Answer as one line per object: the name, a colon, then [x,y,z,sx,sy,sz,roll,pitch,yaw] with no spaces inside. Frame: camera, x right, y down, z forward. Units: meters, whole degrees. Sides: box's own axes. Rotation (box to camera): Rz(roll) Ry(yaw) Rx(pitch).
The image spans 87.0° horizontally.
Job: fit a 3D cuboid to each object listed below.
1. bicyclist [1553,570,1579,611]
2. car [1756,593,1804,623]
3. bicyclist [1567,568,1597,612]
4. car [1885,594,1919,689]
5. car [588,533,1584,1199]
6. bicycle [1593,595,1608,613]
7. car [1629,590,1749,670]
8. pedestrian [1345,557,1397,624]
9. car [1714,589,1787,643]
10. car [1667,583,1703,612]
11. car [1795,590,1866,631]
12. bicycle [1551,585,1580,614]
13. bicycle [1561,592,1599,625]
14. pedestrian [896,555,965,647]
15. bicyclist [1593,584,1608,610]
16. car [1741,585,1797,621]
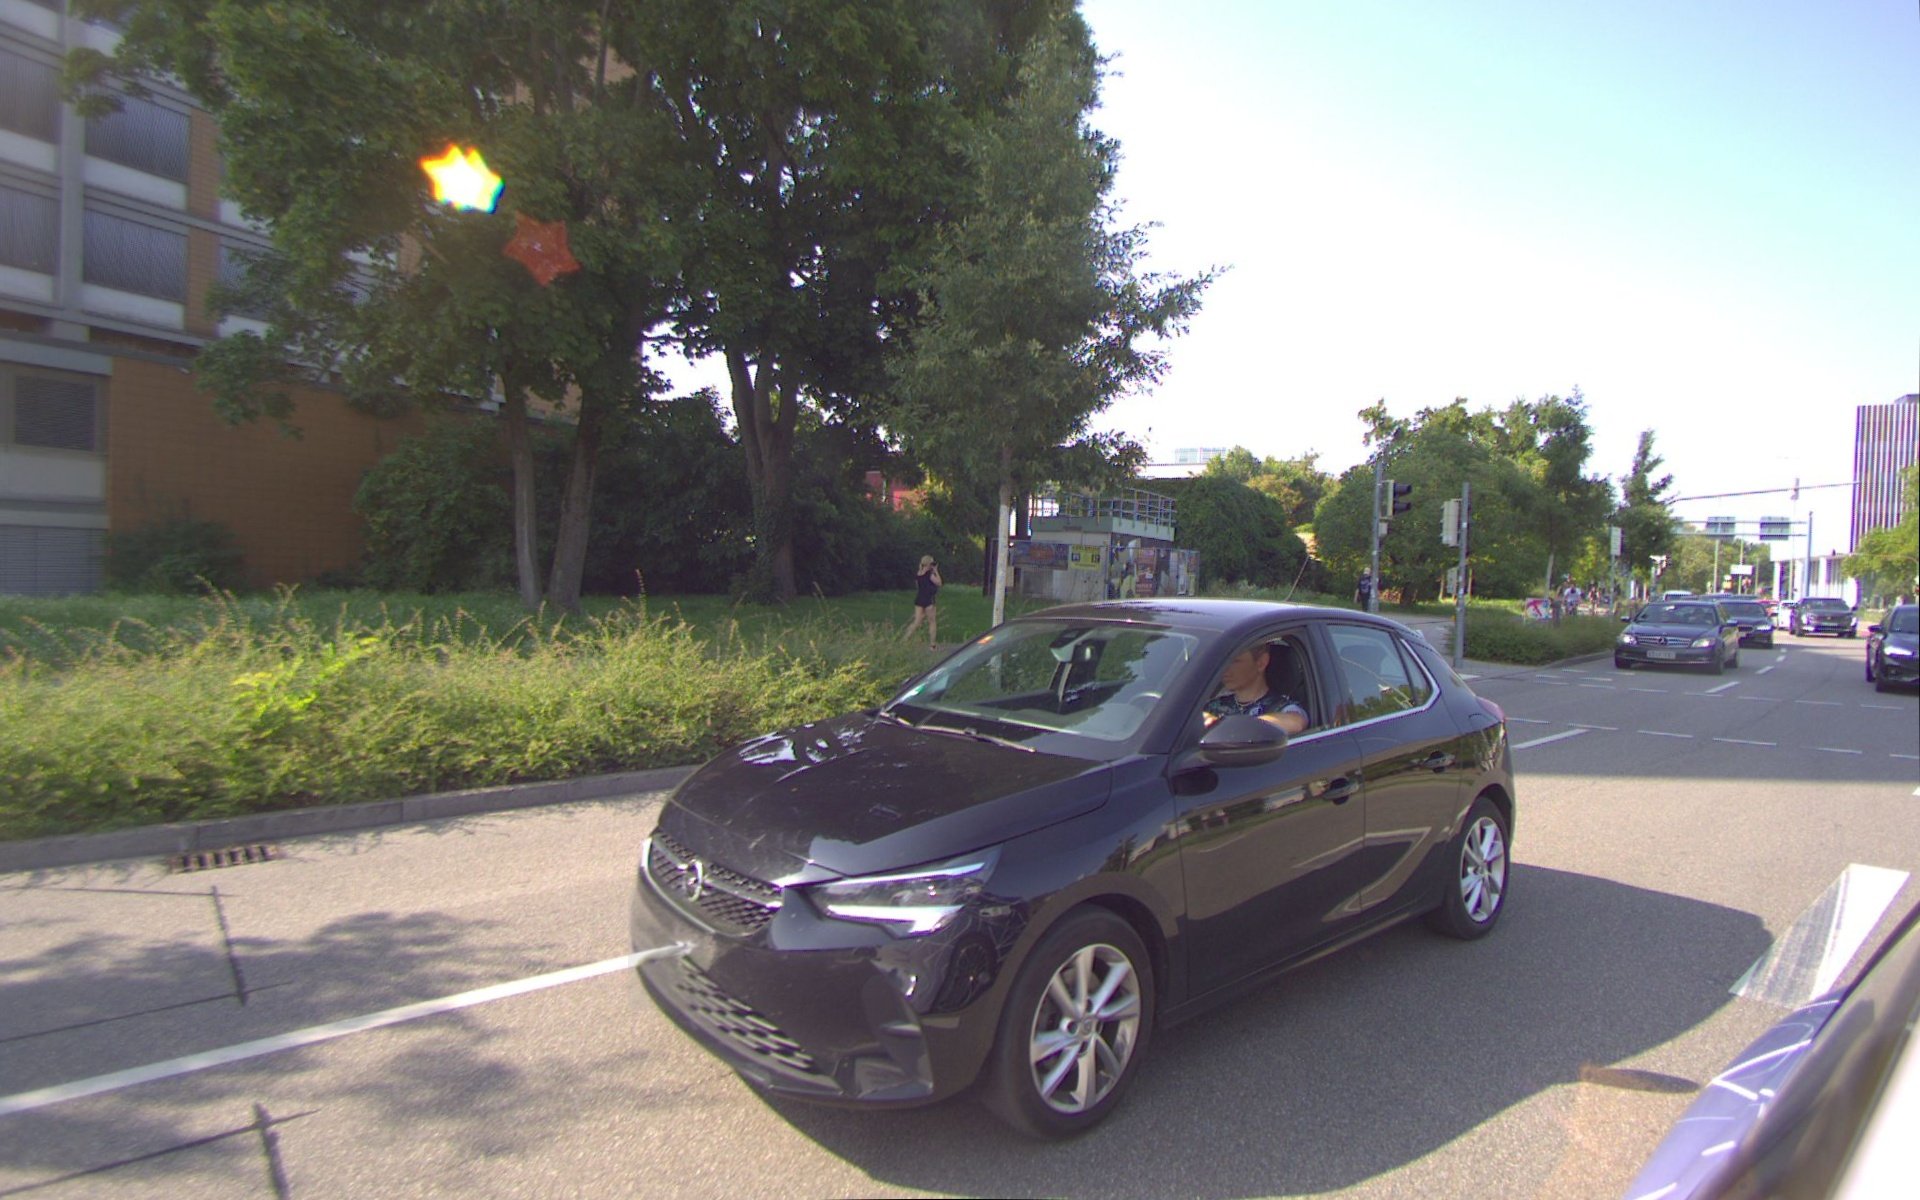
bicyclist: [24.093,-0.386,40.258,0.769,1.613,0.912,2,1,36]
car: [46.037,0.420,56.876,1.677,1.510,4.319,3,2,34]
bicyclist: [23.184,-0.383,37.714,0.771,1.612,0.910,3,2,42]
car: [16.766,0.658,16.913,1.831,1.453,4.481,2,2,42]
car: [0.898,0.604,4.221,4.295,1.510,1.686,0,0,-41]
bicycle: [42.377,0.272,67.009,0.767,1.131,2.278,2,1,31]
car: [15.317,0.538,21.166,1.681,1.460,4.308,2,2,40]
pedestrian: [11.724,-0.274,28.873,0.958,1.804,0.987,5,3,43]
car: [25.048,0.449,32.086,1.680,1.510,4.608,3,2,38]
car: [53.260,-0.200,74.409,1.675,1.965,4.324,3,2,31]
car: [34.934,0.381,40.708,1.678,1.510,4.317,3,2,35]
bicycle: [24.093,-0.031,40.258,0.769,1.131,2.274,2,2,36]
bicycle: [23.053,0.302,37.600,0.771,1.131,2.269,3,2,41]
pedestrian: [-0.492,0.006,16.583,0.841,1.461,0.727,1,2,-36]
bicyclist: [42.352,-0.223,66.943,0.767,1.697,0.914,2,1,31]
car: [38.977,0.105,48.825,1.773,1.625,4.366,3,2,35]
